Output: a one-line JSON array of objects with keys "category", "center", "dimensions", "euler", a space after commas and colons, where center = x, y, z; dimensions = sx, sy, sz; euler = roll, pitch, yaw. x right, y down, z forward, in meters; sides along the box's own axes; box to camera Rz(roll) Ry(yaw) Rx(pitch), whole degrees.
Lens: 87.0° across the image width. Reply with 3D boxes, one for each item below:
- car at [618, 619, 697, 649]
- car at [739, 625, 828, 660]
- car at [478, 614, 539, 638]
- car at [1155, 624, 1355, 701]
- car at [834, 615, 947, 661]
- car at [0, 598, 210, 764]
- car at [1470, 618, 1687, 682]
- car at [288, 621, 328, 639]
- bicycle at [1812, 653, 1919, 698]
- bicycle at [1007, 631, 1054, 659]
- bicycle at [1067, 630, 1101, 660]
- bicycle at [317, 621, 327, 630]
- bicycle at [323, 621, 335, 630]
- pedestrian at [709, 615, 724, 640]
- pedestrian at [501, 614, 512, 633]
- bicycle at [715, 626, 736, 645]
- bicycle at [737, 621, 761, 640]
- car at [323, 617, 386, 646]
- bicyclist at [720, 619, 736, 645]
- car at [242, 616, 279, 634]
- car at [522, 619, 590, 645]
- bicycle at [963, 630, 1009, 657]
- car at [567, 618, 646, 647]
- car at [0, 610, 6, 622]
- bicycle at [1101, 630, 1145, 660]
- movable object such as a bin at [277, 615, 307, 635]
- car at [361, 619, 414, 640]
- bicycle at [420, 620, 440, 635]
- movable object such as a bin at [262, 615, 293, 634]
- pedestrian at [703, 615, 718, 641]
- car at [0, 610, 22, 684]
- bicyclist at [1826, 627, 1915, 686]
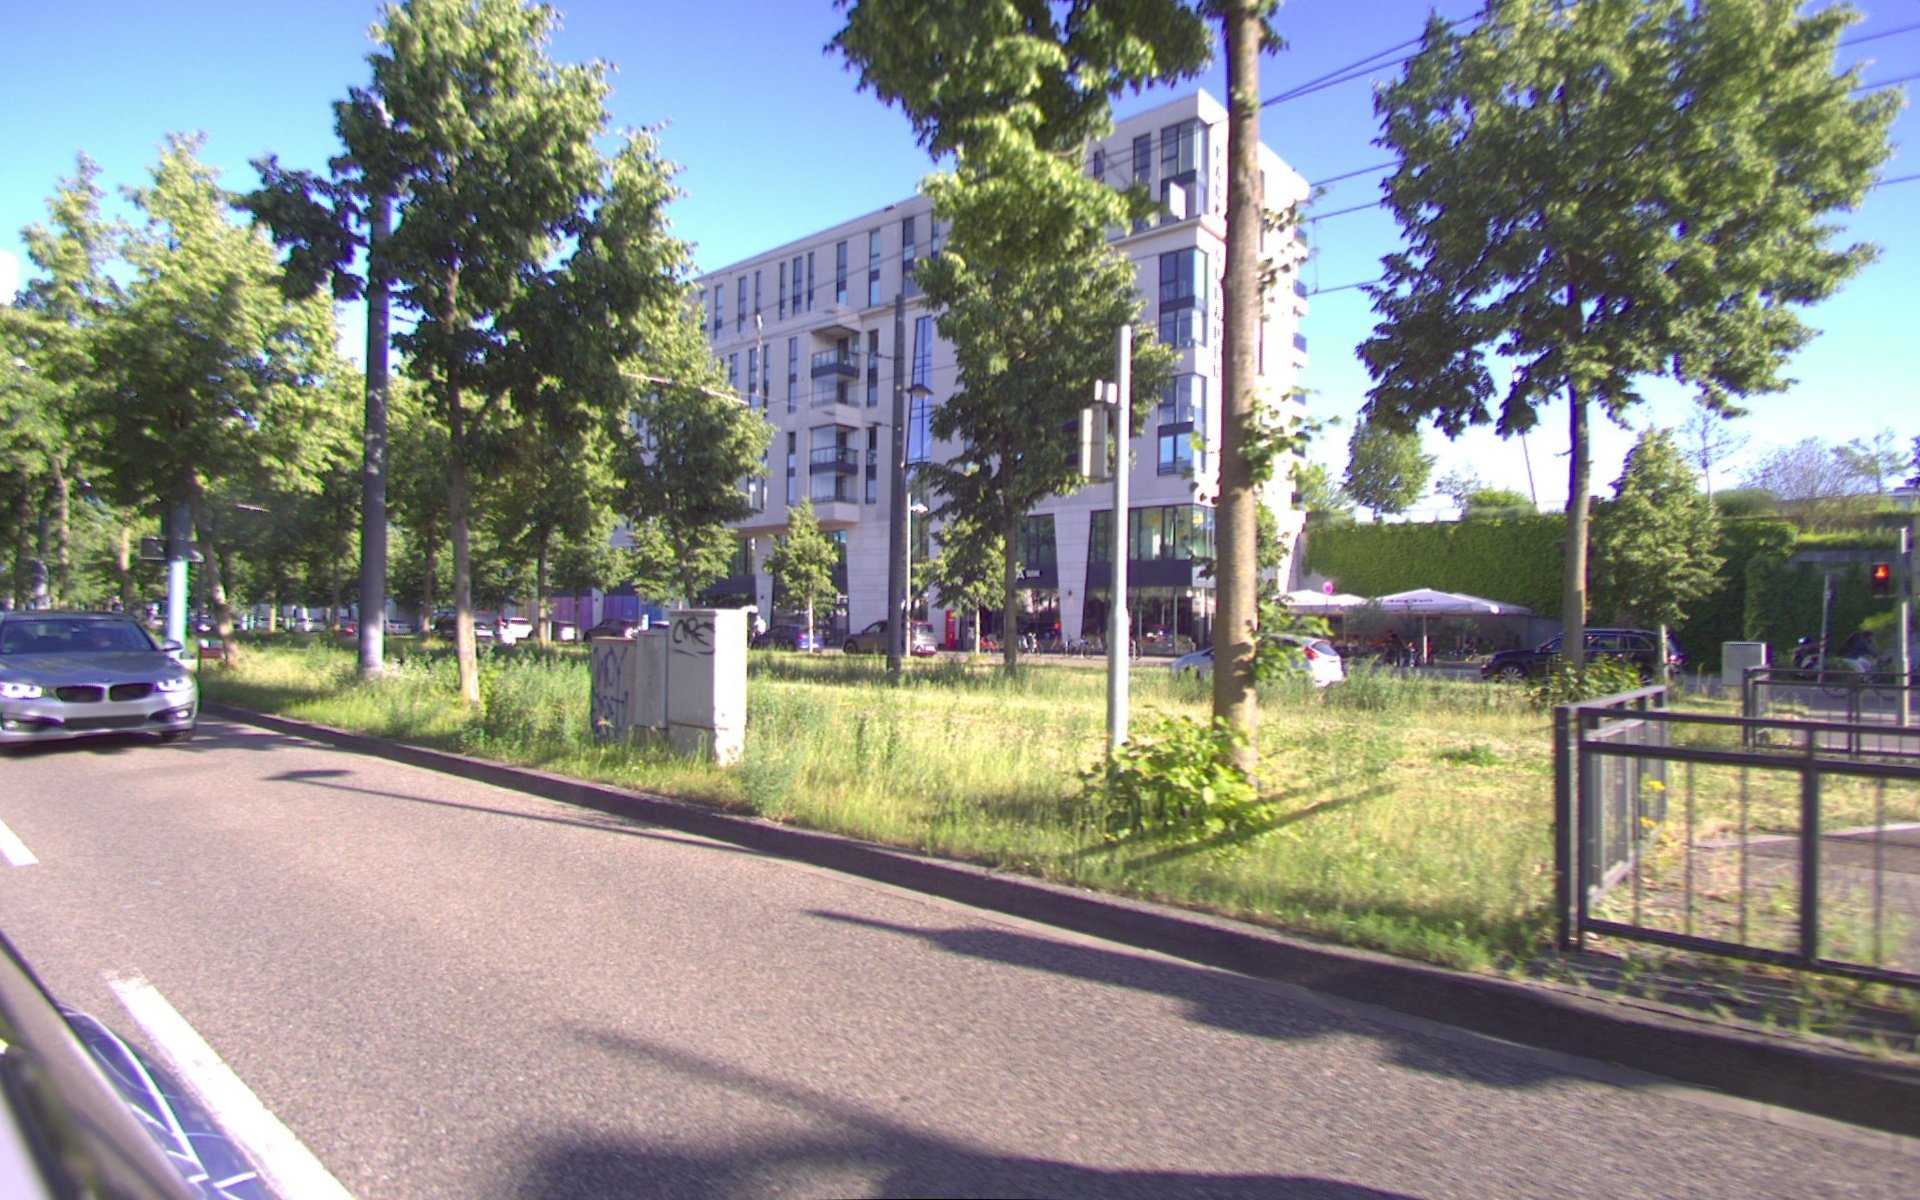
[{"category": "car", "center": [-16.491, 1.814, 55.081], "dimensions": [4.451, 1.452, 1.974], "euler": [0, 1, 39]}, {"category": "car", "center": [-8.355, 1.979, 47.712], "dimensions": [4.264, 1.452, 1.937], "euler": [0, 1, 42]}, {"category": "car", "center": [-29.575, 1.693, 66.229], "dimensions": [4.454, 1.452, 1.973], "euler": [0, 1, 41]}, {"category": "car", "center": [6.760, 1.363, 23.365], "dimensions": [3.996, 1.497, 1.974], "euler": [0, 1, 39]}, {"category": "car", "center": [-3.033, 1.566, 43.268], "dimensions": [4.771, 1.785, 1.974], "euler": [0, 0, 39]}, {"category": "car", "center": [-10.353, 0.777, 11.705], "dimensions": [4.276, 1.590, 1.862], "euler": [0, 1, 42]}, {"category": "car", "center": [16.134, 1.243, 26.530], "dimensions": [4.610, 1.445, 1.859], "euler": [0, 1, 42]}, {"category": "car", "center": [-59.723, 2.732, 92.722], "dimensions": [4.015, 1.452, 1.974], "euler": [0, 1, 39]}, {"category": "bicycle", "center": [23.006, 1.907, 25.628], "dimensions": [2.187, 1.009, 0.491], "euler": [0, 0, 41]}, {"category": "bicycle", "center": [3.273, 2.097, 47.133], "dimensions": [2.239, 1.207, 0.726], "euler": [0, 0, 40]}, {"category": "bicycle", "center": [5.531, 2.000, 45.199], "dimensions": [0.579, 1.262, 1.846], "euler": [-1, 0, -27]}, {"category": "bicycle", "center": [-70.348, 2.818, 111.560], "dimensions": [0.610, 0.996, 1.850], "euler": [-1, 0, -44]}, {"category": "bicycle", "center": [-68.548, 2.746, 109.927], "dimensions": [1.848, 0.960, 0.573], "euler": [0, 0, 43]}, {"category": "pedestrian", "center": [-16.440, 1.847, 68.397], "dimensions": [0.718, 1.663, 0.630], "euler": [0, 0, 34]}, {"category": "pedestrian", "center": [-40.255, 2.067, 89.735], "dimensions": [0.719, 1.663, 0.629], "euler": [0, 0, 39]}, {"category": "bicycle", "center": [-13.425, 2.036, 57.960], "dimensions": [1.484, 1.024, 0.425], "euler": [0, 0, 43]}, {"category": "bicycle", "center": [-12.147, 1.760, 58.257], "dimensions": [1.800, 1.024, 0.375], "euler": [0, 0, 44]}, {"category": "car", "center": [-35.623, 1.828, 59.500], "dimensions": [4.317, 1.539, 1.973], "euler": [0, 1, 41]}, {"category": "bicyclist", "center": [-13.242, 1.835, 57.787], "dimensions": [0.956, 1.429, 0.425], "euler": [0, 0, 43]}, {"category": "car", "center": [-71.281, 2.535, 103.154], "dimensions": [4.333, 1.742, 1.974], "euler": [0, 0, 39]}, {"category": "car", "center": [-25.116, 1.971, 62.865], "dimensions": [4.451, 1.452, 1.974], "euler": [0, 1, 39]}, {"category": "bicycle", "center": [1.247, 2.096, 48.960], "dimensions": [2.239, 1.207, 0.726], "euler": [0, 0, 40]}, {"category": "car", "center": [-20.365, 1.837, 58.189], "dimensions": [4.931, 1.452, 1.974], "euler": [0, 1, 39]}, {"category": "car", "center": [-166.869, 2.845, 175.372], "dimensions": [4.001, 2.029, 1.971], "euler": [0, 1, 44]}, {"category": "bicycle", "center": [7.056, 1.937, 43.828], "dimensions": [1.839, 1.262, 0.582], "euler": [0, 0, 41]}, {"category": "movable object such as a bin", "center": [-62.672, 2.336, 94.969], "dimensions": [1.554, 1.808, 1.951], "euler": [0, 0, 39]}, {"category": "car", "center": [-45.807, 2.336, 80.929], "dimensions": [4.920, 1.452, 1.974], "euler": [0, 1, 39]}, {"category": "bicycle", "center": [-47.300, 2.430, 90.376], "dimensions": [0.935, 1.290, 2.775], "euler": [-1, 0, -42]}, {"category": "movable object such as a bin", "center": [-65.675, 2.337, 97.392], "dimensions": [2.008, 1.808, 1.951], "euler": [0, 0, 38]}, {"category": "pedestrian", "center": [-16.628, 1.855, 67.496], "dimensions": [0.719, 1.663, 0.629], "euler": [0, 0, 39]}, {"category": "car", "center": [-22.466, 1.034, 22.617], "dimensions": [4.000, 1.534, 1.925], "euler": [0, 1, 43]}, {"category": "bicyclist", "center": [23.022, 1.415, 25.616], "dimensions": [1.660, 1.416, 0.484], "euler": [0, 0, 41]}]
